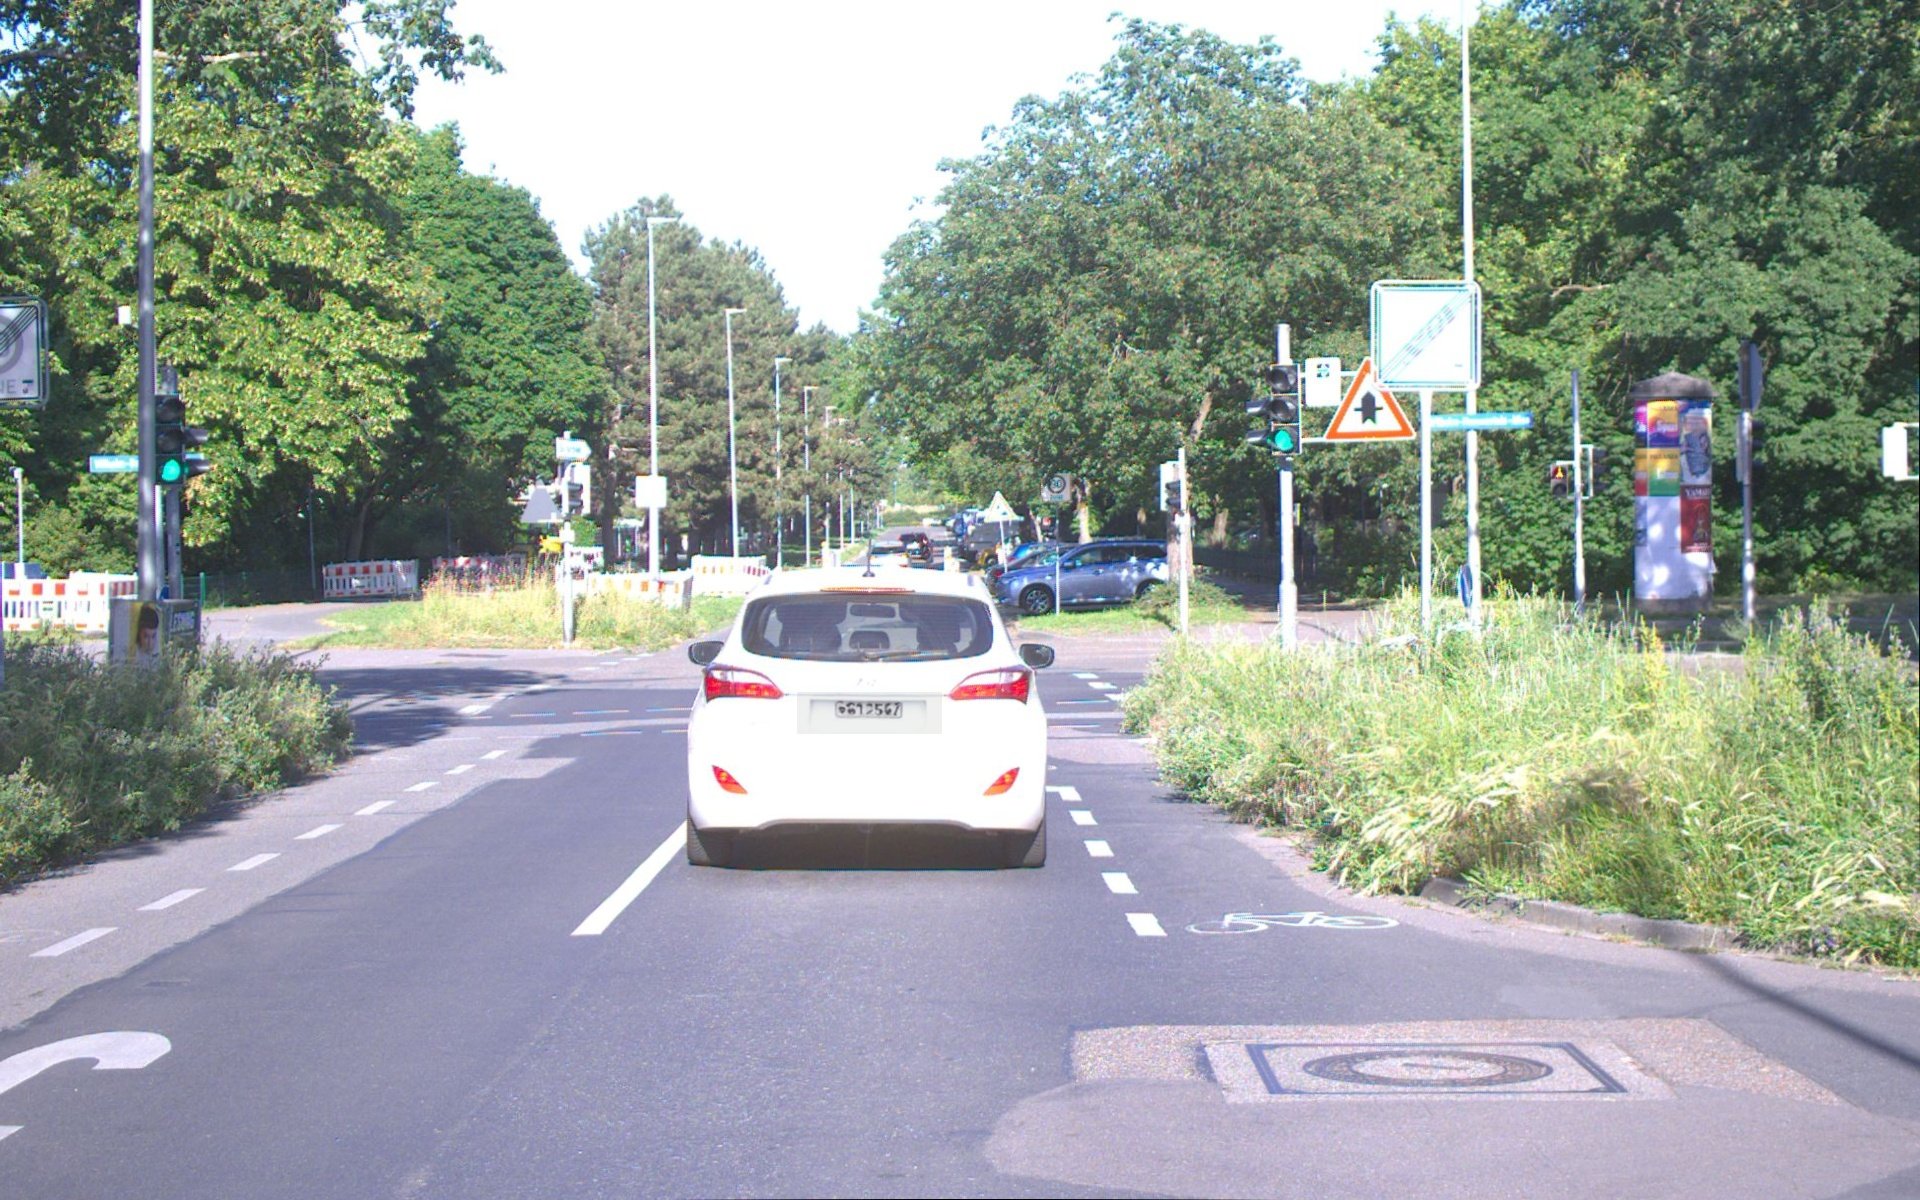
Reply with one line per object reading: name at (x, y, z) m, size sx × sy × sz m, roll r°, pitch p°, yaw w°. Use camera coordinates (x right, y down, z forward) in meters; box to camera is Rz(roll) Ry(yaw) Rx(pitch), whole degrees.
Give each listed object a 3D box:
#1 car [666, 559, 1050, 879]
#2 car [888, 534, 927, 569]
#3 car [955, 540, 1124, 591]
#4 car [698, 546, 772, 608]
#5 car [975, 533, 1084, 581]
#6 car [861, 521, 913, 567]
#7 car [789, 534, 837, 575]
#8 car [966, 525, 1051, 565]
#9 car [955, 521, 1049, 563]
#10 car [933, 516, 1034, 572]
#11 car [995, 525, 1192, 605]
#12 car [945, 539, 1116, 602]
car at (-0.494, 0.533, 18.096) m, size 1.789 × 1.458 × 3.963 m, roll 0°, pitch 1°, yaw 0°
car at (-2.710, -2.516, 178.575) m, size 1.993 × 1.809 × 4.000 m, roll 0°, pitch 1°, yaw 0°
car at (2.634, -1.156, 115.427) m, size 5.613 × 1.678 × 1.948 m, roll 0°, pitch 1°, yaw 0°
car at (-6.799, -0.705, 104.221) m, size 1.993 × 1.809 × 4.000 m, roll 0°, pitch 1°, yaw 0°
car at (2.440, -1.524, 122.042) m, size 3.819 × 1.678 × 1.863 m, roll 0°, pitch 1°, yaw 0°
car at (-2.962, -2.285, 139.567) m, size 1.993 × 1.809 × 4.000 m, roll 1°, pitch 1°, yaw 0°
car at (-6.496, -2.029, 152.344) m, size 1.993 × 1.809 × 4.000 m, roll 0°, pitch 1°, yaw 0°
car at (2.187, -2.493, 156.245) m, size 3.819 × 1.761 × 1.863 m, roll 0°, pitch 1°, yaw 0°
car at (1.934, -2.693, 159.392) m, size 4.301 × 1.901 × 1.863 m, roll 0°, pitch 1°, yaw 0°
car at (0.902, -2.143, 132.076) m, size 3.819 × 2.091 × 1.863 m, roll 0°, pitch 1°, yaw 0°
car at (3.108, -0.819, 80.010) m, size 4.499 × 1.777 × 1.855 m, roll -1°, pitch 1°, yaw 2°
car at (1.909, -0.797, 92.086) m, size 4.499 × 1.624 × 1.855 m, roll -1°, pitch 1°, yaw 2°
